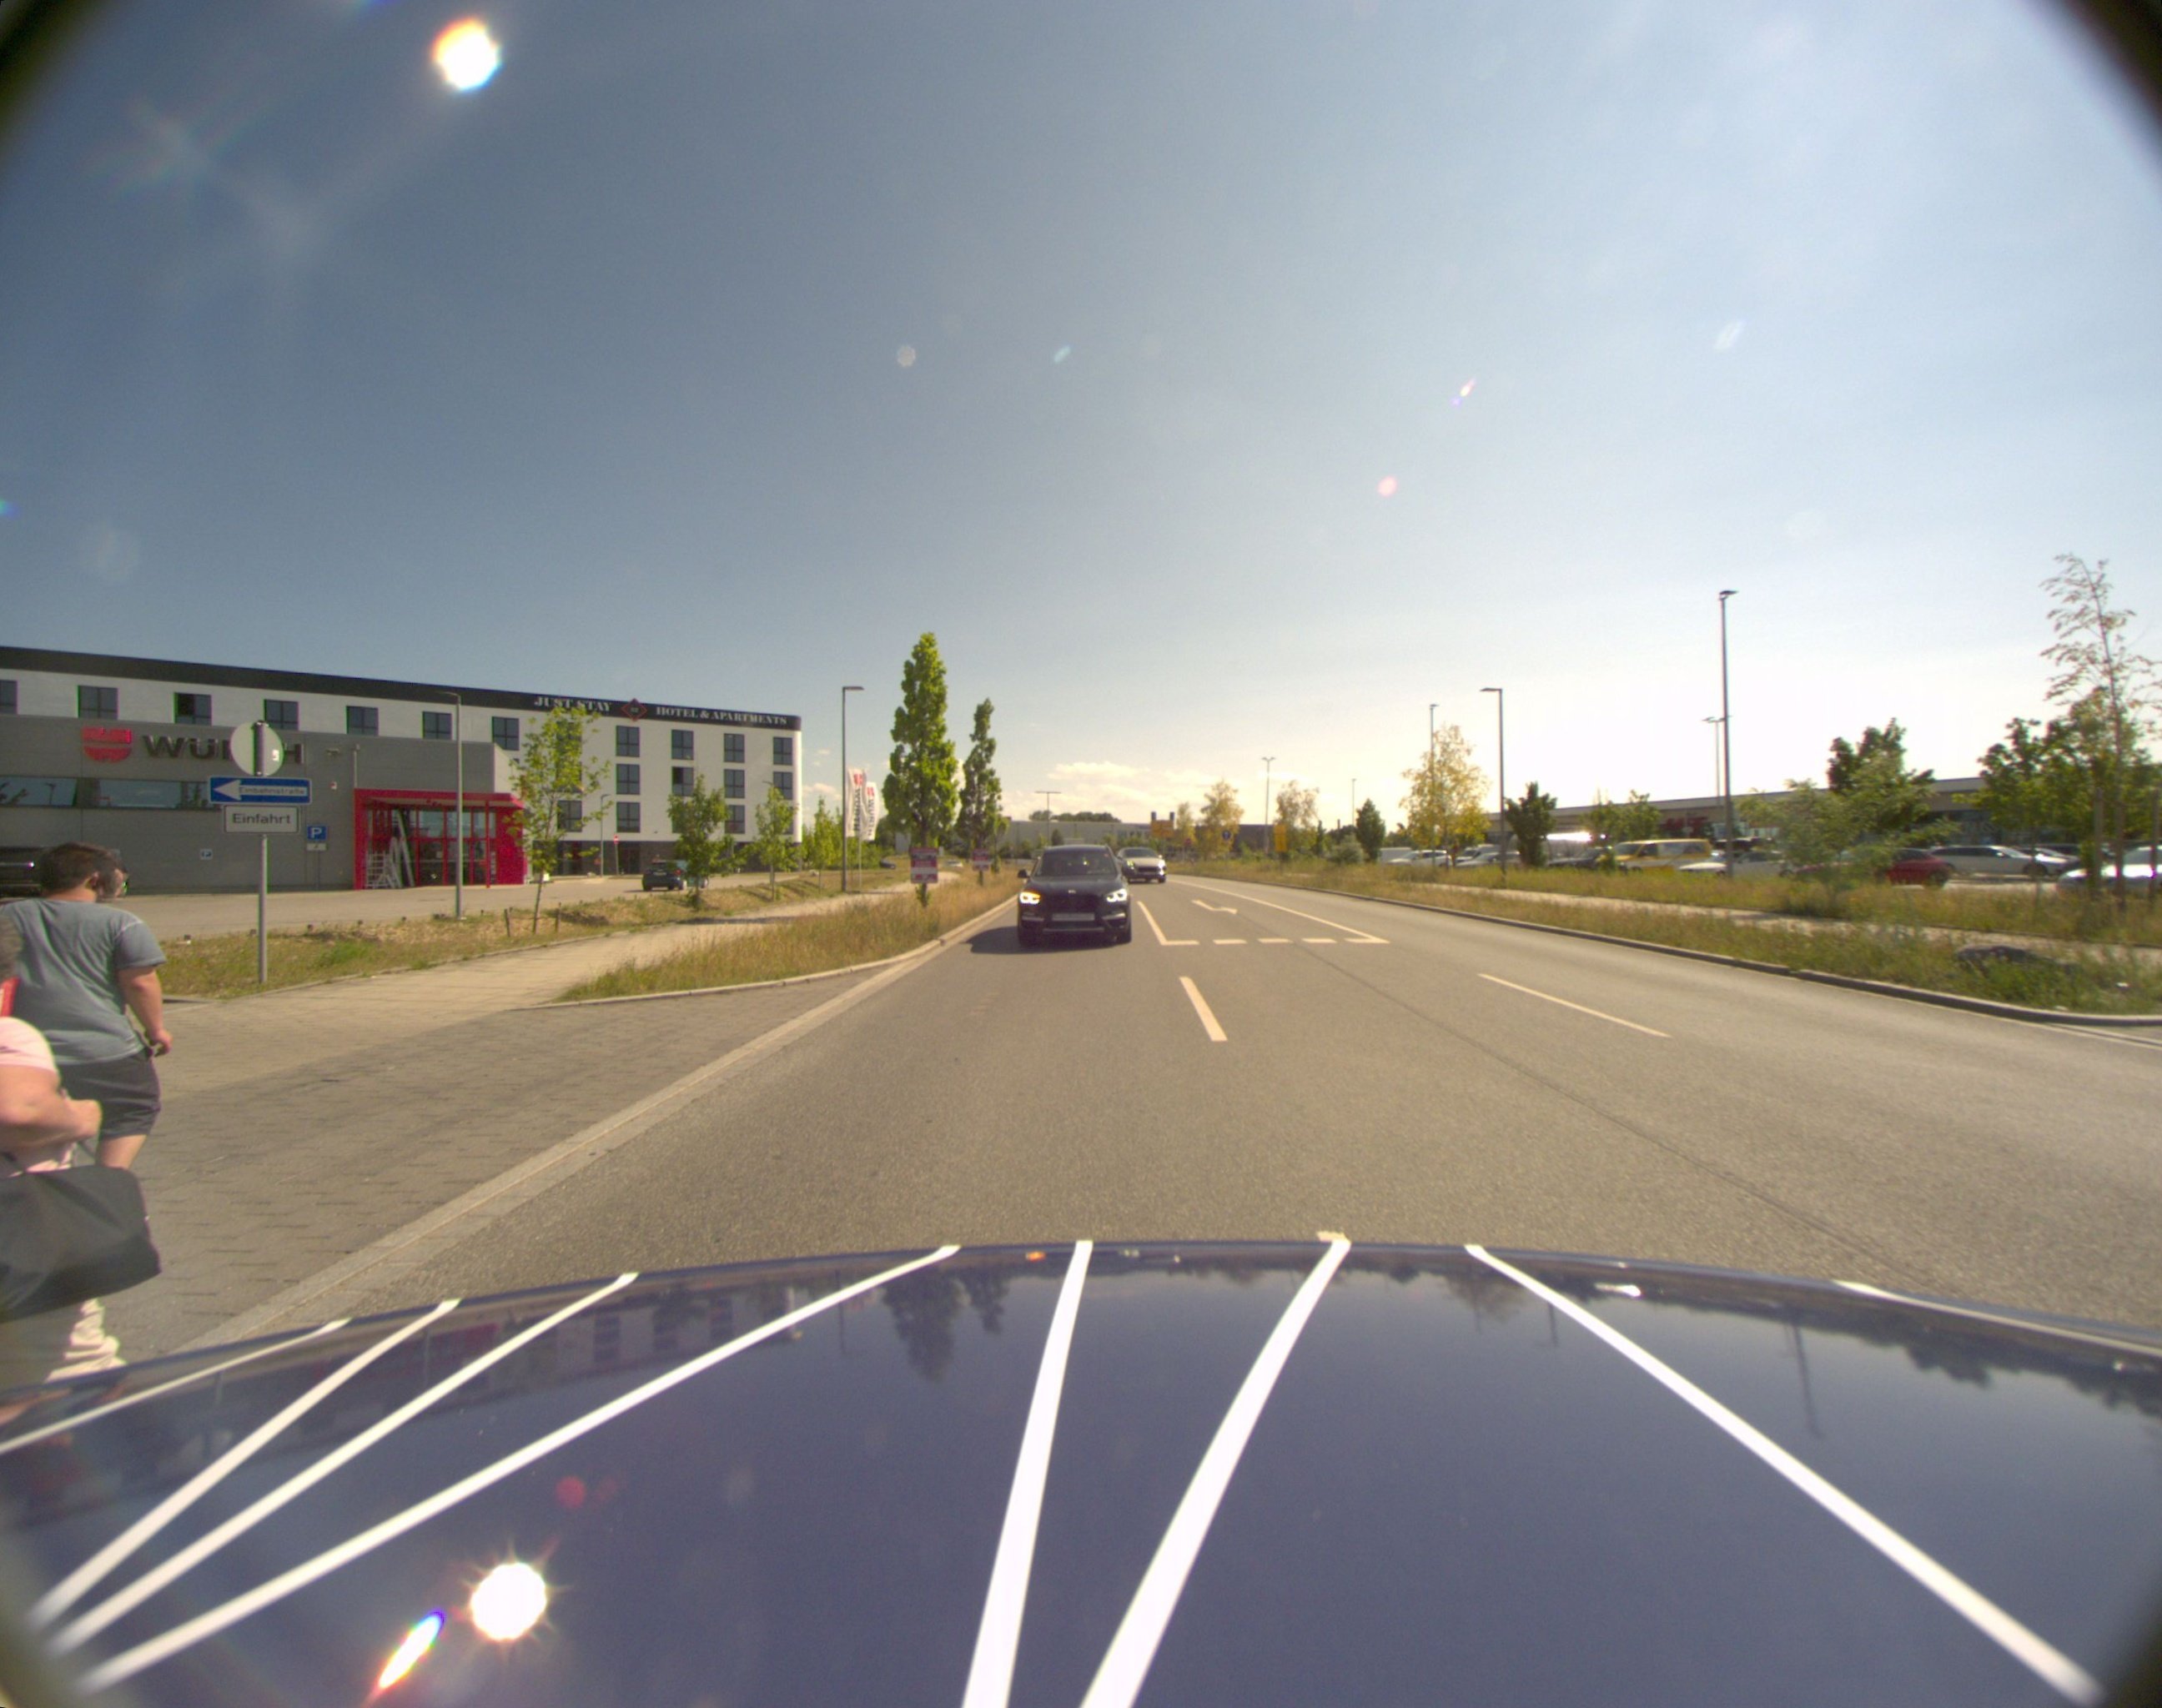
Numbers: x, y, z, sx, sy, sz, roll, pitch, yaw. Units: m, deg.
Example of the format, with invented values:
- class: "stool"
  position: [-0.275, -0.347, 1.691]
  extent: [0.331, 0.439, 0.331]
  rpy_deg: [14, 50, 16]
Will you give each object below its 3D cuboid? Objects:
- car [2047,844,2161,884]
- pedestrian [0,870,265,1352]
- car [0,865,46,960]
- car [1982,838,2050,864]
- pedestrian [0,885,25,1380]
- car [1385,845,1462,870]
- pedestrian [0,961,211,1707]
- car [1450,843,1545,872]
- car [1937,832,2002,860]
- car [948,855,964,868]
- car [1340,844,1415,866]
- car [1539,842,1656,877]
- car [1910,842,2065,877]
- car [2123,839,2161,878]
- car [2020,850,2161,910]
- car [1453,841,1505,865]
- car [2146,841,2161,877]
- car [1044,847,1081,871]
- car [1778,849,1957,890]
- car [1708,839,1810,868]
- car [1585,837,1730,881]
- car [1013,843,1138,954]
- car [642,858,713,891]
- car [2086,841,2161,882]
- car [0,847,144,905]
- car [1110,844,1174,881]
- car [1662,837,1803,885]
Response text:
- class: "car"
  position: [39.193, 0.347, 27.861]
  extent: [1.719, 1.409, 4.346]
  rpy_deg: [-1, 0, -21]
- class: "pedestrian"
  position: [-4.100, 0.892, 2.970]
  extent: [0.811, 1.619, 0.866]
  rpy_deg: [-1, 1, 0]
- class: "car"
  position: [-18.508, 0.982, 10.820]
  extent: [1.784, 1.531, 4.169]
  rpy_deg: [-1, 1, 1]
- class: "car"
  position: [57.800, -0.183, 46.965]
  extent: [4.360, 1.510, 1.713]
  rpy_deg: [-1, 0, -26]
- class: "pedestrian"
  position: [-3.961, 0.924, 2.128]
  extent: [0.803, 1.620, 0.804]
  rpy_deg: [-1, 1, 0]
- class: "car"
  position: [24.099, 0.252, 53.536]
  extent: [4.604, 1.662, 1.998]
  rpy_deg: [0, 0, -8]
- class: "pedestrian"
  position: [-2.559, 1.003, 1.383]
  extent: [0.795, 1.461, 0.949]
  rpy_deg: [-1, 1, 0]
- class: "car"
  position: [25.067, 0.222, 45.798]
  extent: [4.716, 1.662, 1.999]
  rpy_deg: [0, 0, -7]
- class: "car"
  position: [58.285, -0.505, 49.834]
  extent: [4.360, 1.797, 1.713]
  rpy_deg: [-1, 0, -26]
- class: "car"
  position: [-15.104, 0.883, 91.990]
  extent: [1.787, 1.485, 3.996]
  rpy_deg: [-1, 1, -8]
- class: "car"
  position: [22.852, 0.082, 58.588]
  extent: [5.199, 1.662, 1.997]
  rpy_deg: [0, 0, -14]
- class: "car"
  position: [25.903, 0.269, 38.177]
  extent: [4.782, 1.662, 1.881]
  rpy_deg: [0, 0, -6]
- class: "car"
  position: [42.272, 0.230, 35.574]
  extent: [1.719, 1.517, 4.347]
  rpy_deg: [-1, 0, -19]
- class: "car"
  position: [44.638, 0.179, 29.684]
  extent: [1.719, 1.562, 4.346]
  rpy_deg: [-1, 0, -21]
- class: "car"
  position: [25.977, 0.590, 18.384]
  extent: [4.154, 1.340, 1.936]
  rpy_deg: [0, 0, 0]
- class: "car"
  position: [44.088, -0.145, 84.113]
  extent: [5.725, 2.573, 1.936]
  rpy_deg: [-1, 0, -23]
- class: "car"
  position: [47.099, 0.212, 30.759]
  extent: [1.719, 1.524, 4.346]
  rpy_deg: [-1, 0, -21]
- class: "car"
  position: [-1.345, 0.350, 54.393]
  extent: [1.758, 1.678, 4.376]
  rpy_deg: [-1, 0, -13]
- class: "car"
  position: [26.820, 0.512, 26.031]
  extent: [4.154, 1.340, 1.936]
  rpy_deg: [0, 0, 0]
- class: "car"
  position: [42.980, -0.033, 48.294]
  extent: [1.719, 1.731, 4.576]
  rpy_deg: [-1, 0, -18]
- class: "car"
  position: [27.247, 0.227, 35.983]
  extent: [5.699, 1.953, 1.999]
  rpy_deg: [0, 0, -7]
- class: "car"
  position: [-0.219, 0.734, 14.017]
  extent: [1.901, 1.669, 4.466]
  rpy_deg: [-1, -1, -3]
- class: "car"
  position: [-18.670, 0.927, 35.350]
  extent: [1.518, 1.399, 3.998]
  rpy_deg: [0, 0, -6]
- class: "car"
  position: [41.558, 0.263, 28.506]
  extent: [1.719, 1.540, 4.346]
  rpy_deg: [-1, 0, -21]
- class: "car"
  position: [-34.894, 0.707, 25.911]
  extent: [2.052, 1.805, 4.912]
  rpy_deg: [-1, 0, -30]
- class: "car"
  position: [2.825, 0.428, 36.384]
  extent: [2.115, 1.633, 4.775]
  rpy_deg: [-1, -1, -7]
- class: "car"
  position: [26.397, 0.273, 30.886]
  extent: [4.155, 1.850, 1.932]
  rpy_deg: [0, 0, -2]
